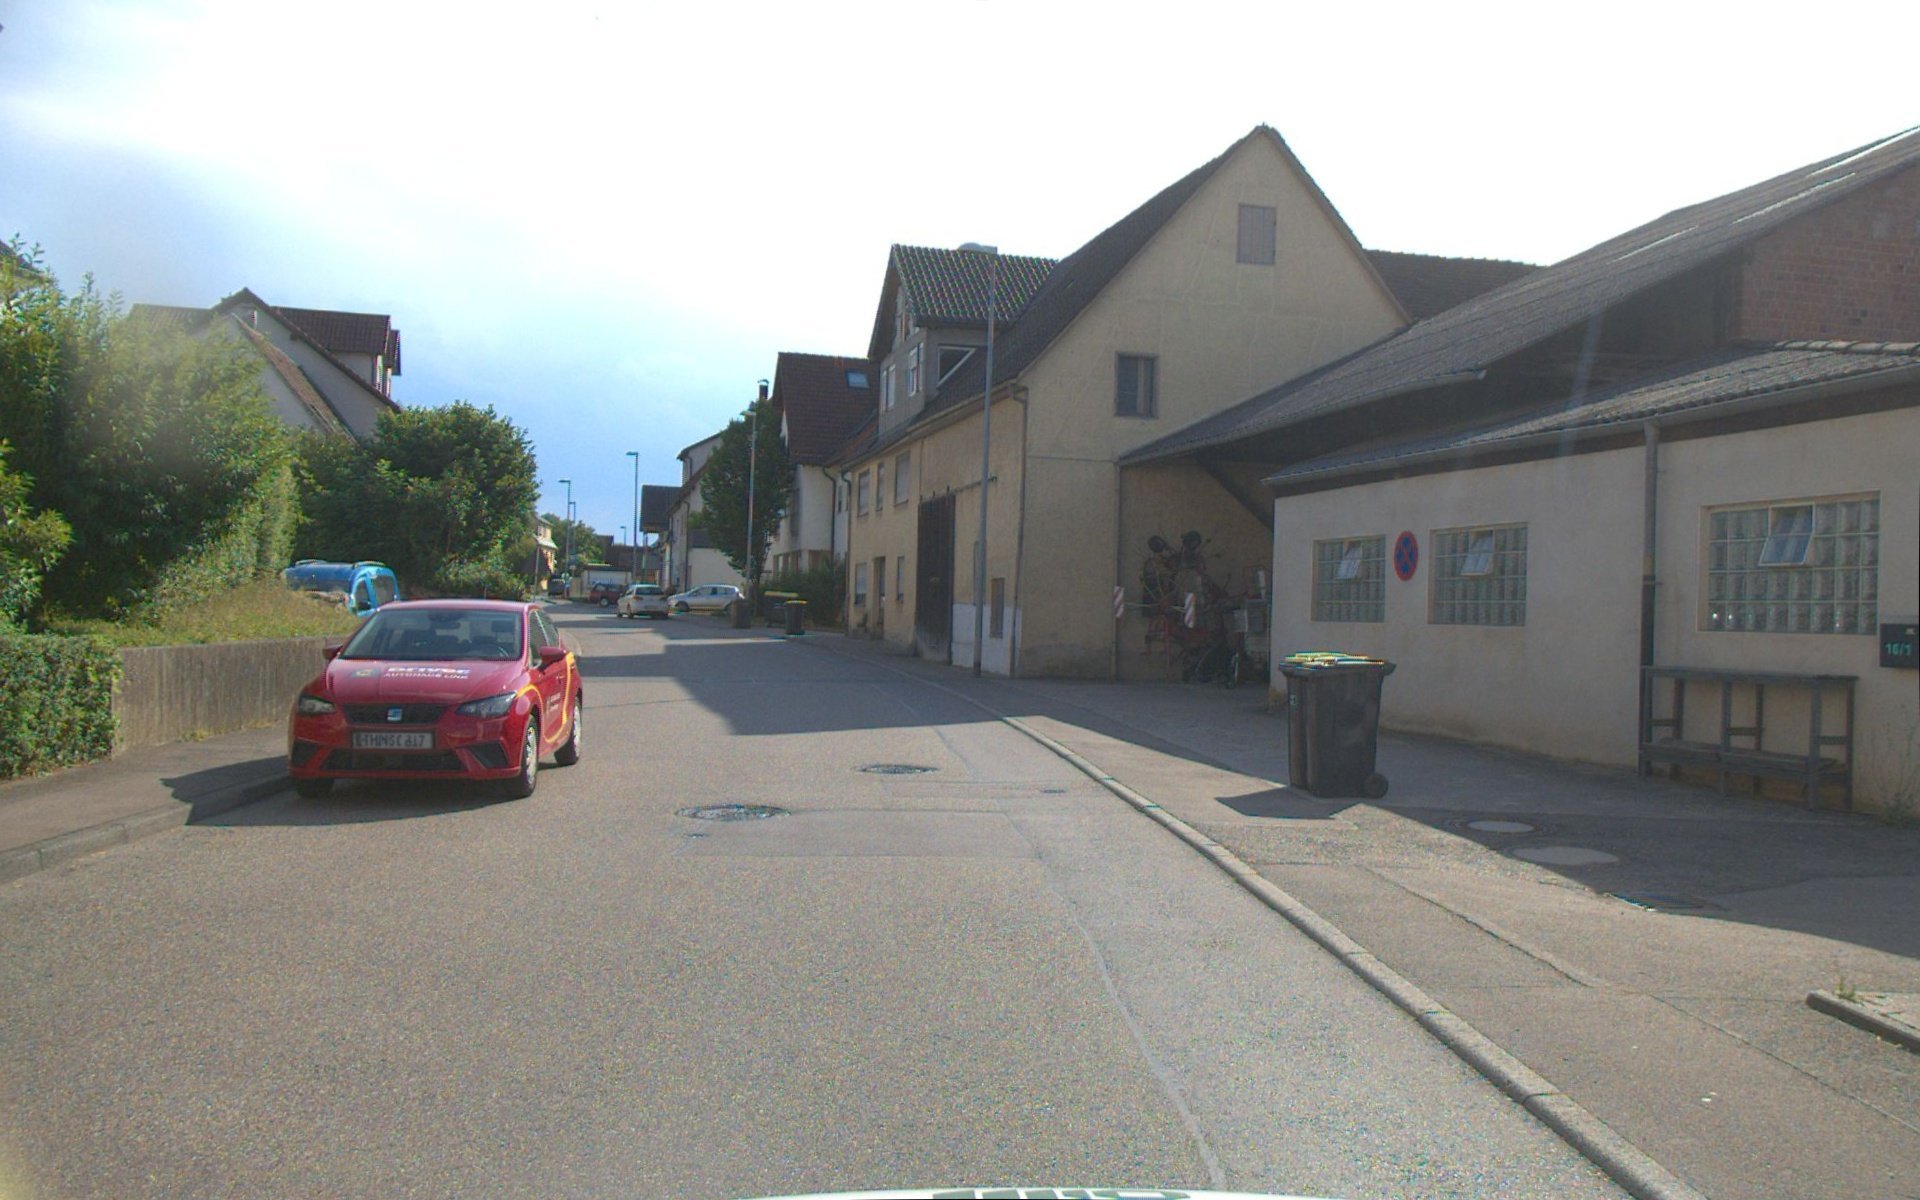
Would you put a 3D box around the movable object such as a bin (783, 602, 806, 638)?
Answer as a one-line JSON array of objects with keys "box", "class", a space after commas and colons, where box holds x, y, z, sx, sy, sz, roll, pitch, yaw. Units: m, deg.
[{"box": [-5.232, 0.632, 52.206, 0.642, 1.092, 0.511, 1, 0, -15], "class": "movable object such as a bin"}]

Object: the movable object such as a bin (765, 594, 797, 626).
[{"box": [-6.735, 0.369, 62.148, 1.140, 1.189, 0.653, 1, 0, -11], "class": "movable object such as a bin"}]

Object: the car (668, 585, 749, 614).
[{"box": [-12.546, -0.037, 82.701, 3.912, 1.376, 1.708, 1, 0, -8], "class": "car"}]

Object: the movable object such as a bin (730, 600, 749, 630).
[{"box": [-8.111, 0.554, 60.848, 0.642, 1.092, 0.511, 1, 0, -15], "class": "movable object such as a bin"}]

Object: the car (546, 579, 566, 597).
[{"box": [-36.398, -1.095, 149.217, 1.676, 1.578, 3.986, 1, 0, -13], "class": "car"}]

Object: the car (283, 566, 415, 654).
[{"box": [-10.316, 0.167, 28.104, 1.333, 1.396, 3.191, 0, 0, -6], "class": "car"}]

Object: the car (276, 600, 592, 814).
[{"box": [-4.056, 0.750, 13.337, 1.676, 1.460, 3.775, 0, 0, -6], "class": "car"}]

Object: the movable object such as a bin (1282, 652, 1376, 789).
[{"box": [3.058, 0.991, 13.736, 0.639, 1.092, 0.513, 1, 0, -2], "class": "movable object such as a bin"}]

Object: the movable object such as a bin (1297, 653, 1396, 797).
[{"box": [3.074, 0.985, 13.187, 0.639, 1.092, 0.513, 1, 0, -2], "class": "movable object such as a bin"}]

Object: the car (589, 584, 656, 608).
[{"box": [-20.716, -0.233, 101.524, 3.919, 1.376, 1.704, 1, 0, -14], "class": "car"}]

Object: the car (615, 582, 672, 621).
[{"box": [-13.982, 0.055, 72.962, 1.682, 1.606, 3.972, 1, 0, -23], "class": "car"}]
